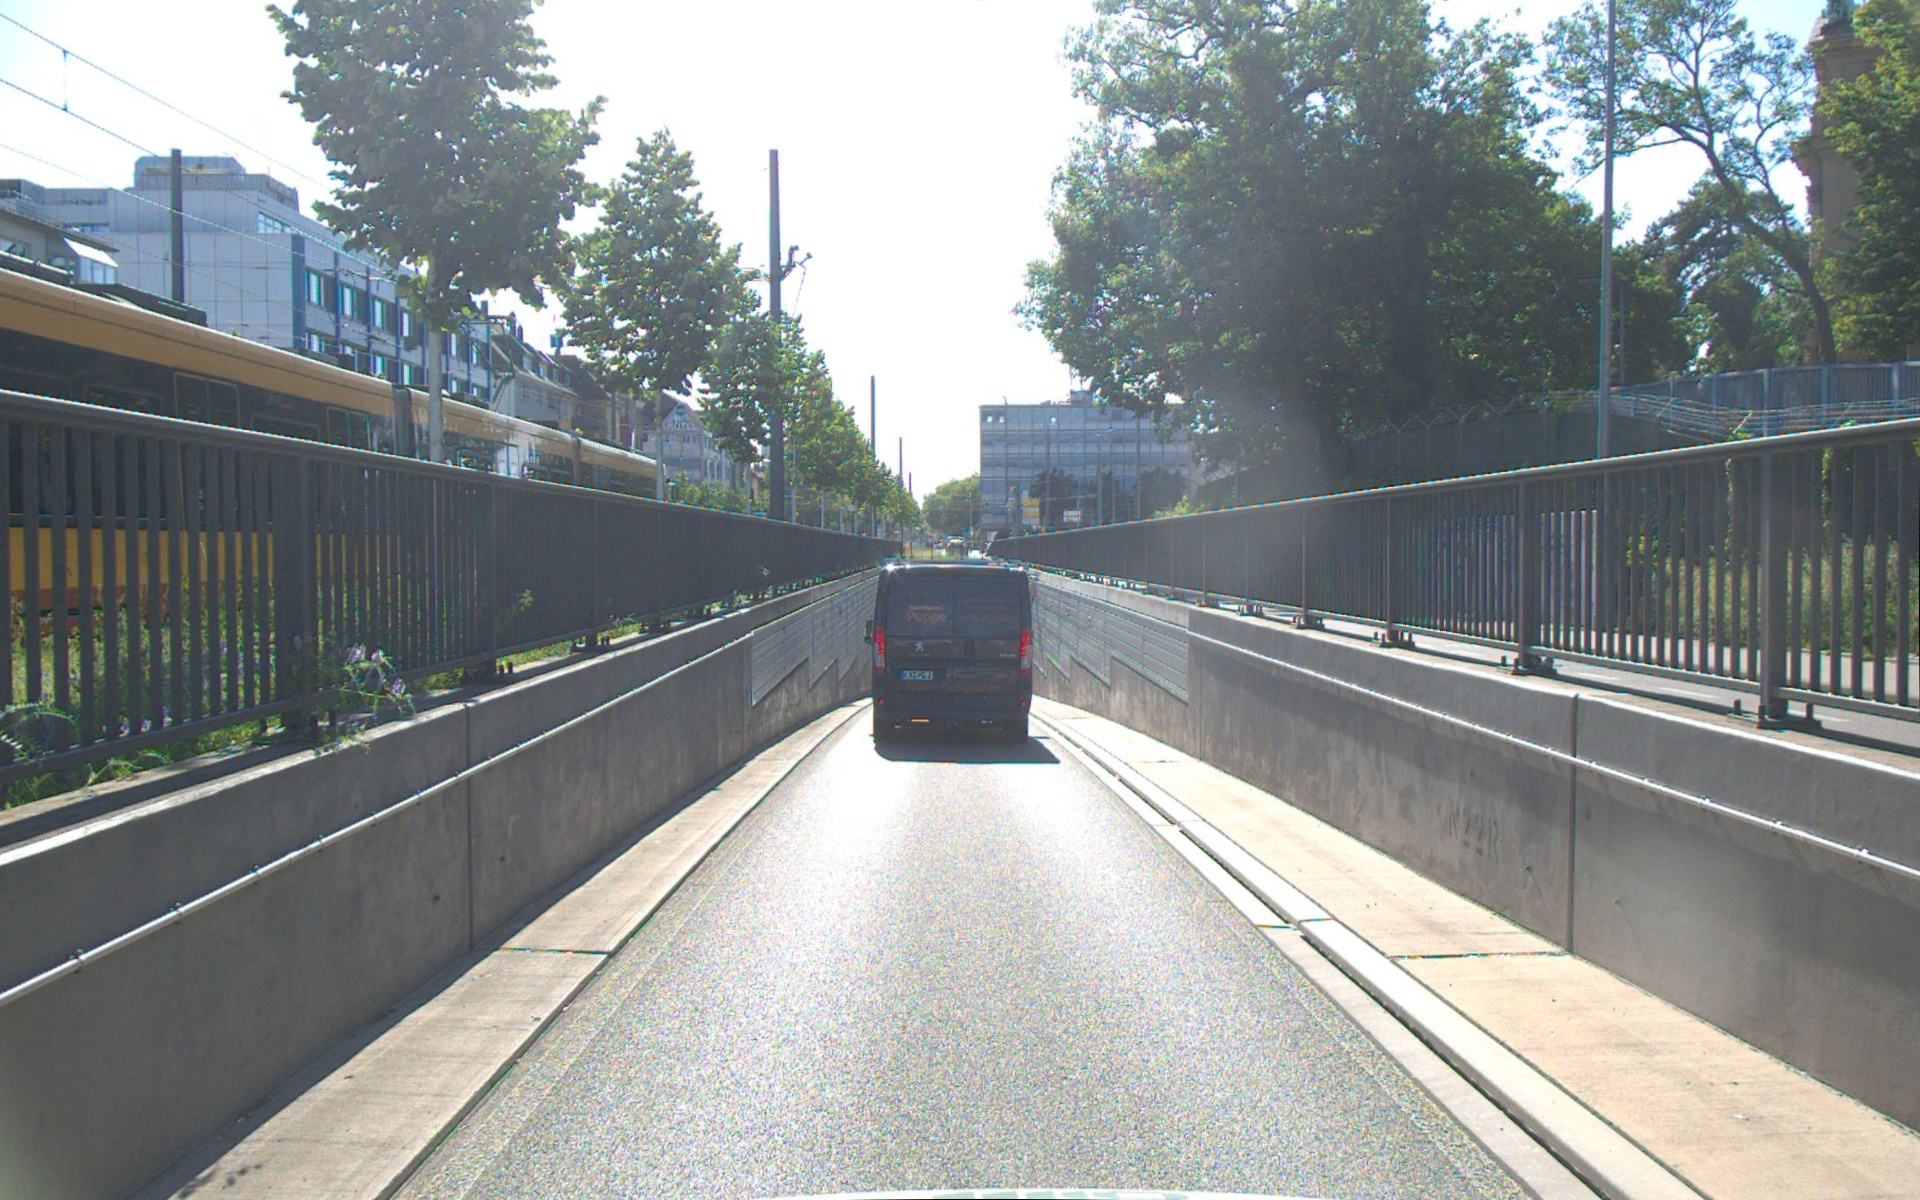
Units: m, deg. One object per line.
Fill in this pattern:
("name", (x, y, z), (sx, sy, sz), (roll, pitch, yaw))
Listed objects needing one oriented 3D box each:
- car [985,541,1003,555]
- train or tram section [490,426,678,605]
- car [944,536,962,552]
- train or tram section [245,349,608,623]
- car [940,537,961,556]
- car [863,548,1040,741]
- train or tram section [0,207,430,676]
("car", (3.494, -5.427, 171.585), (1.705, 1.446, 3.999), (0, 2, -2))
("train or tram section", (-9.240, -2.004, 41.921), (2.559, 3.921, 9.970), (1, 1, -1))
("car", (-0.710, -5.641, 167.908), (1.705, 1.589, 3.999), (0, 2, -2))
("train or tram section", (-9.083, -1.787, 30.395), (2.557, 3.887, 13.090), (1, 1, -1))
("car", (-0.815, -4.550, 139.919), (1.705, 1.589, 3.999), (0, 2, -2))
("car", (-0.097, 0.586, 22.380), (2.114, 2.306, 4.636), (1, -1, 0))
("train or tram section", (-8.933, -1.373, 17.233), (2.557, 3.719, 13.342), (1, 1, 0))
